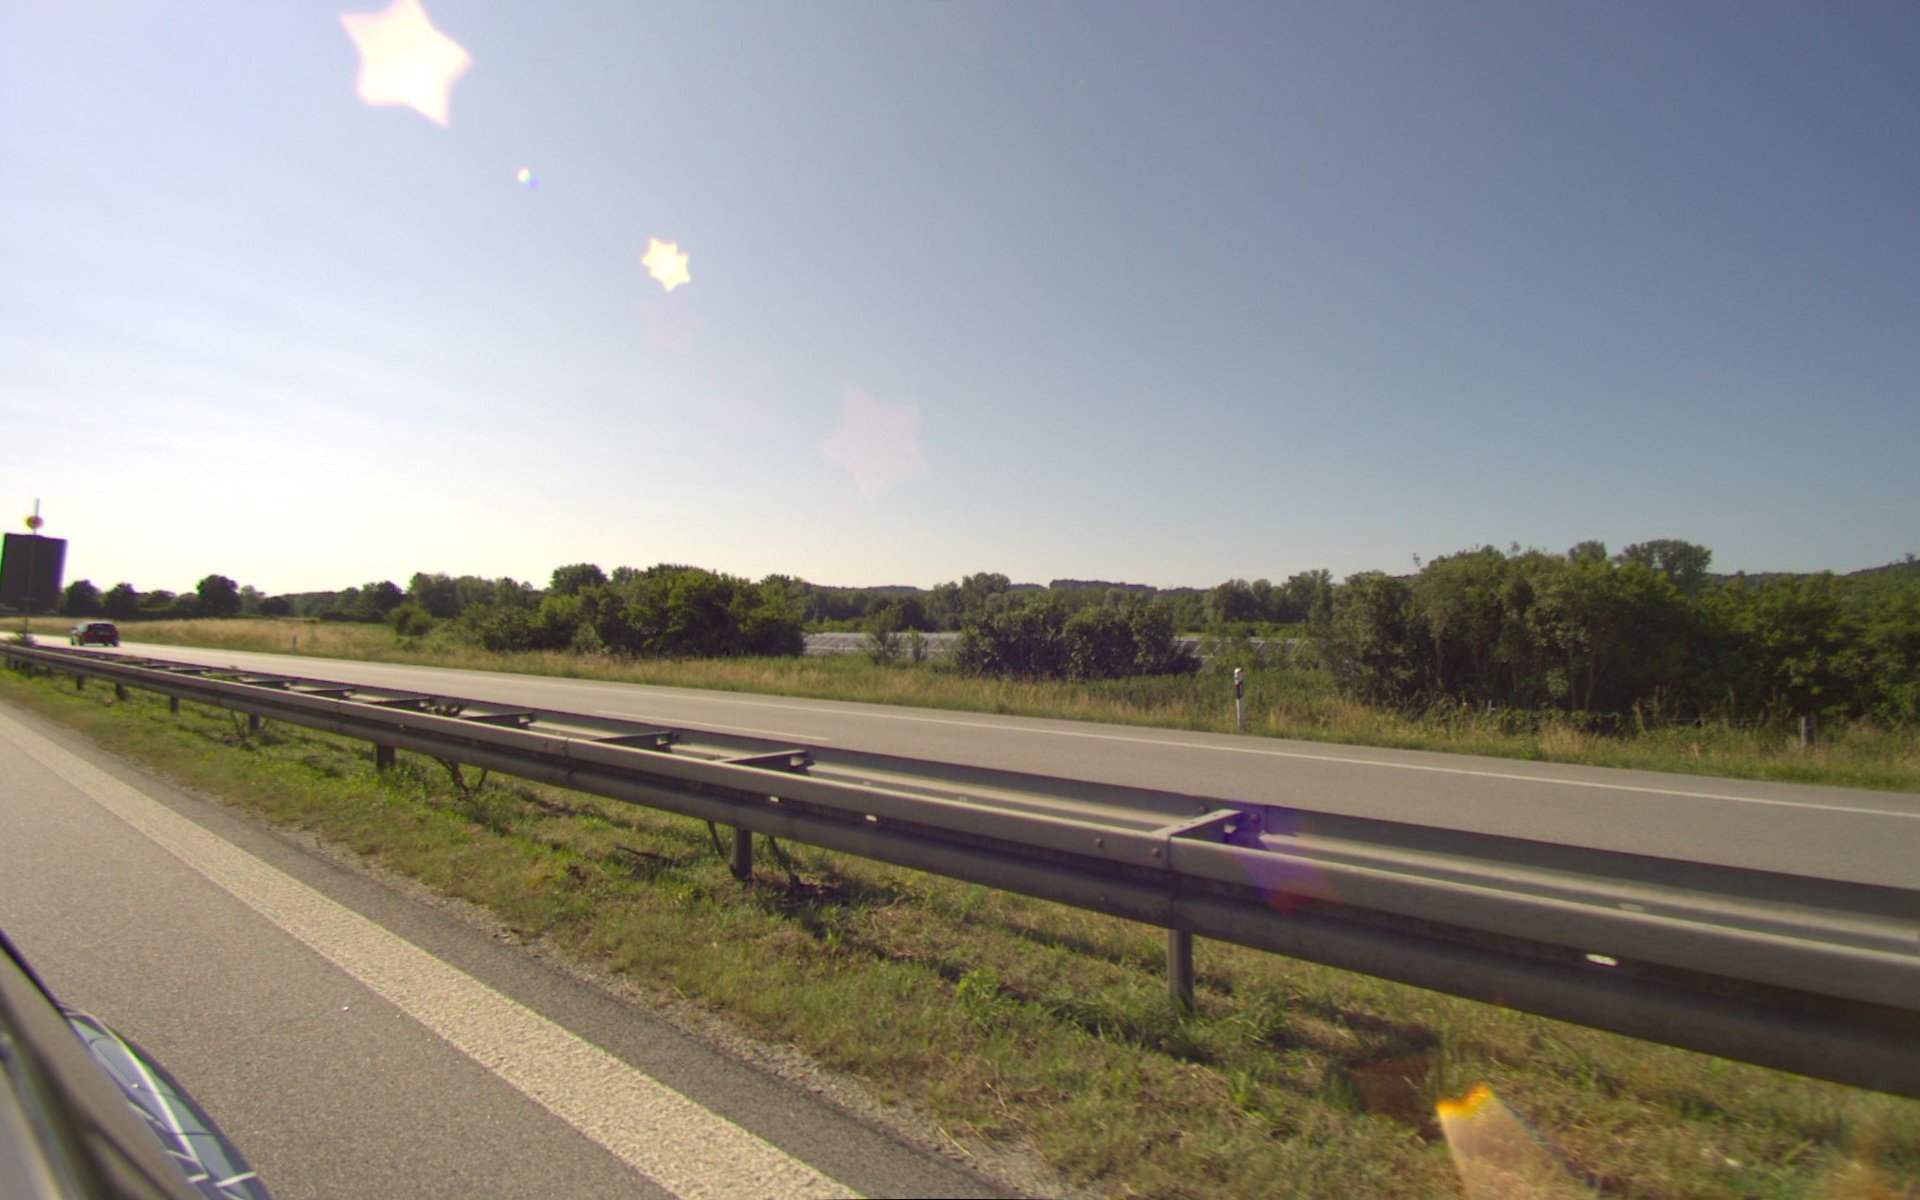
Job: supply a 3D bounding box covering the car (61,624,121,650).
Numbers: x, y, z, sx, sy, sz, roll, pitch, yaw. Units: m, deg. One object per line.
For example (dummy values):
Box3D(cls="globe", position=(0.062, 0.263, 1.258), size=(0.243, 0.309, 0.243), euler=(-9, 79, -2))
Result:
Box3D(cls="car", position=(-49.635, 2.101, 57.755), size=(4.920, 1.409, 1.813), euler=(-1, -5, 41))
